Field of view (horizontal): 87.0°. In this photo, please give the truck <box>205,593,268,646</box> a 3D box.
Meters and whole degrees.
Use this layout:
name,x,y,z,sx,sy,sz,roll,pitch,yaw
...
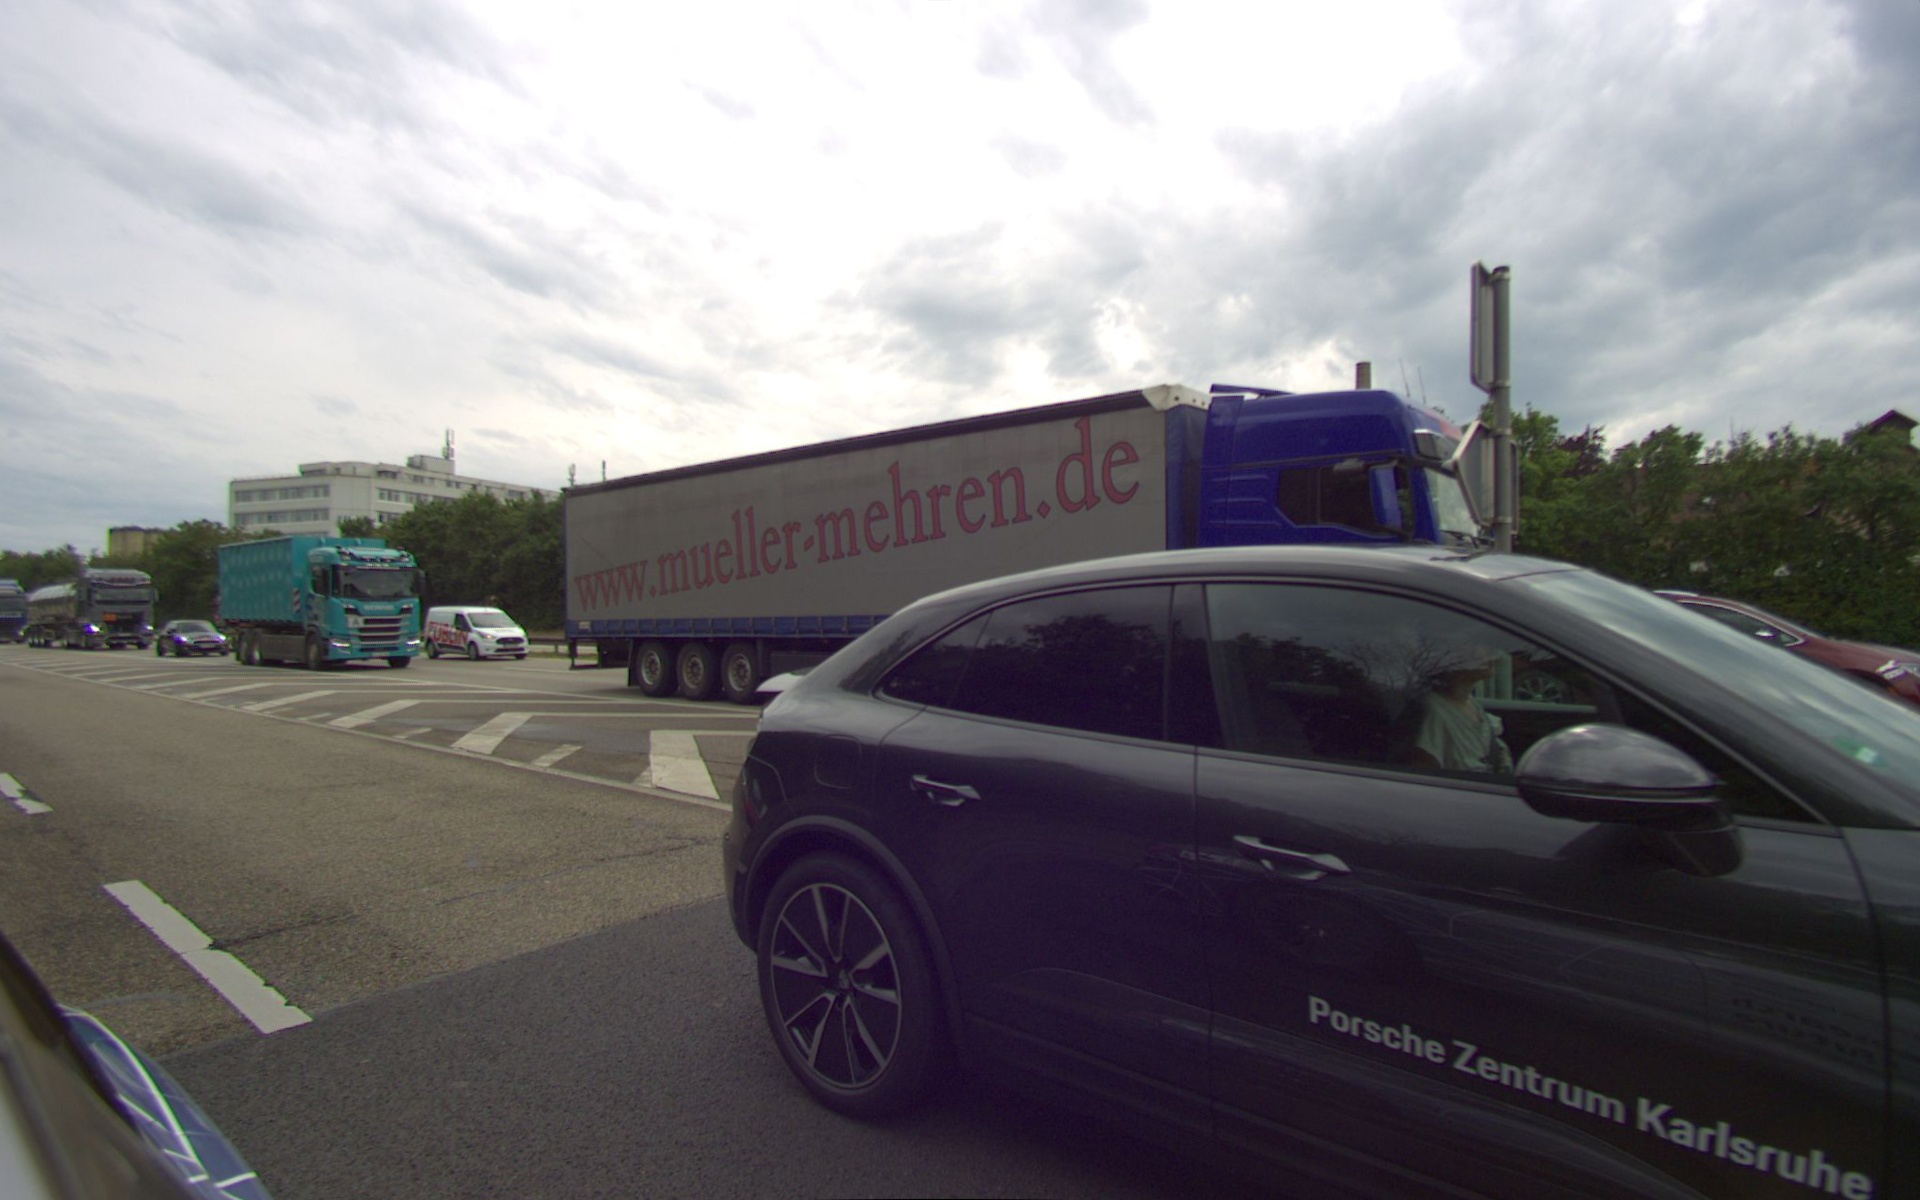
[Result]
name,x,y,z,sx,sy,sz,roll,pitch,yaw
truck,-58.092,1.605,81.238,4.897,4.095,2.738,-1,-2,36

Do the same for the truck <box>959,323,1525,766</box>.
name,x,y,z,sx,sy,sz,roll,pitch,yaw
truck,3.088,-0.442,12.058,5.924,3.991,2.641,-1,-2,41

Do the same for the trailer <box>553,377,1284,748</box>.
name,x,y,z,sx,sy,sz,roll,pitch,yaw
trailer,-1.984,-0.271,16.482,13.913,4.005,2.645,-1,-2,41

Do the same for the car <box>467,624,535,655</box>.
name,x,y,z,sx,sy,sz,roll,pitch,yaw
car,-22.223,1.900,48.923,3.558,1.444,1.479,-1,-2,37

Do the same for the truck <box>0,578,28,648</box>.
name,x,y,z,sx,sy,sz,roll,pitch,yaw
truck,-64.218,0.933,65.769,13.979,4.263,2.781,-1,-2,36

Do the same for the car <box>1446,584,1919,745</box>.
name,x,y,z,sx,sy,sz,roll,pitch,yaw
car,9.095,0.729,12.747,5.082,1.691,1.766,-1,-2,41

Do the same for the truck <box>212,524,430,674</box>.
name,x,y,z,sx,sy,sz,roll,pitch,yaw
truck,-20.083,0.073,31.438,10.114,4.031,2.666,-1,-2,39

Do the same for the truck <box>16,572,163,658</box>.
name,x,y,z,sx,sy,sz,roll,pitch,yaw
truck,-45.002,0.810,52.095,13.128,3.955,3.287,-1,-2,38

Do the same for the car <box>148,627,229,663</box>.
name,x,y,z,sx,sy,sz,roll,pitch,yaw
car,-30.708,1.764,40.259,3.996,1.332,1.735,-1,-2,40

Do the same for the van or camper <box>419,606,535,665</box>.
name,x,y,z,sx,sy,sz,roll,pitch,yaw
van or camper,-16.620,1.183,34.729,4.584,1.907,1.700,-1,-2,37

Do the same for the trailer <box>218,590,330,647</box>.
name,x,y,z,sx,sy,sz,roll,pitch,yaw
trailer,-52.428,1.463,77.120,13.327,4.095,2.739,-1,-2,36

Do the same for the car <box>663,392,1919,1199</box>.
name,x,y,z,sx,sy,sz,roll,pitch,yaw
car,1.407,0.578,2.527,4.750,1.676,1.881,-1,-2,41
